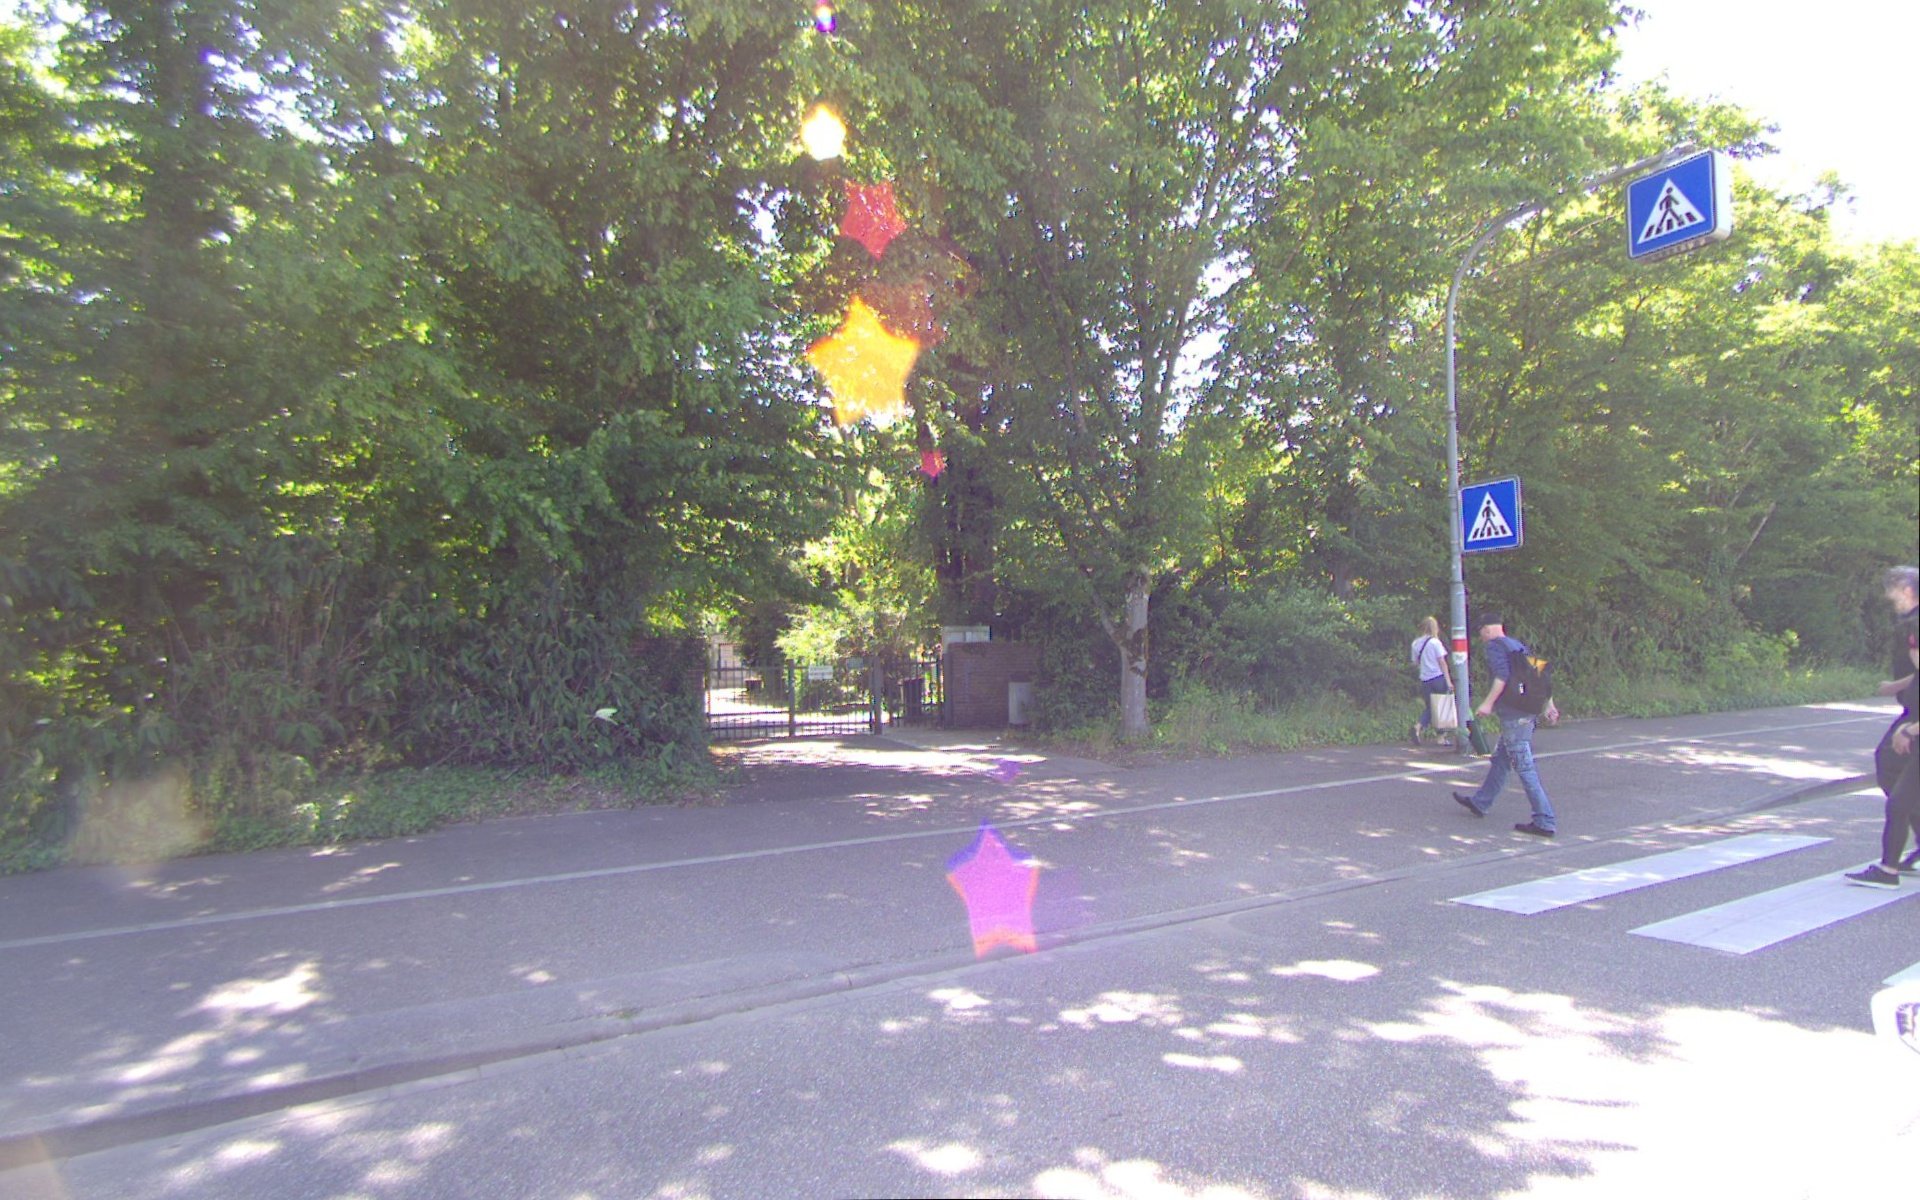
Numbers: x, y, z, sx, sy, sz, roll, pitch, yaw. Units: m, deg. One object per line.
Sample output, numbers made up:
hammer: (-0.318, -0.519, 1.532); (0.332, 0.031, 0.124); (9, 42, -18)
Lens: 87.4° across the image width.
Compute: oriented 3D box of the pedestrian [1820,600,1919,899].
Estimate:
pedestrian: (5.594, 0.823, 5.701); (0.775, 1.632, 0.886); (2, -5, -41)

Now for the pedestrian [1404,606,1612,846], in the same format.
pedestrian: (4.453, 0.955, 8.207); (1.012, 1.774, 1.148); (1, -2, -33)

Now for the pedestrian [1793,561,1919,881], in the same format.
pedestrian: (5.965, 0.726, 6.206); (0.778, 1.888, 1.074); (2, -4, -41)

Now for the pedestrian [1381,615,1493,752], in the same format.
pedestrian: (5.996, 1.012, 12.659); (0.875, 1.634, 0.928); (0, -1, -30)
